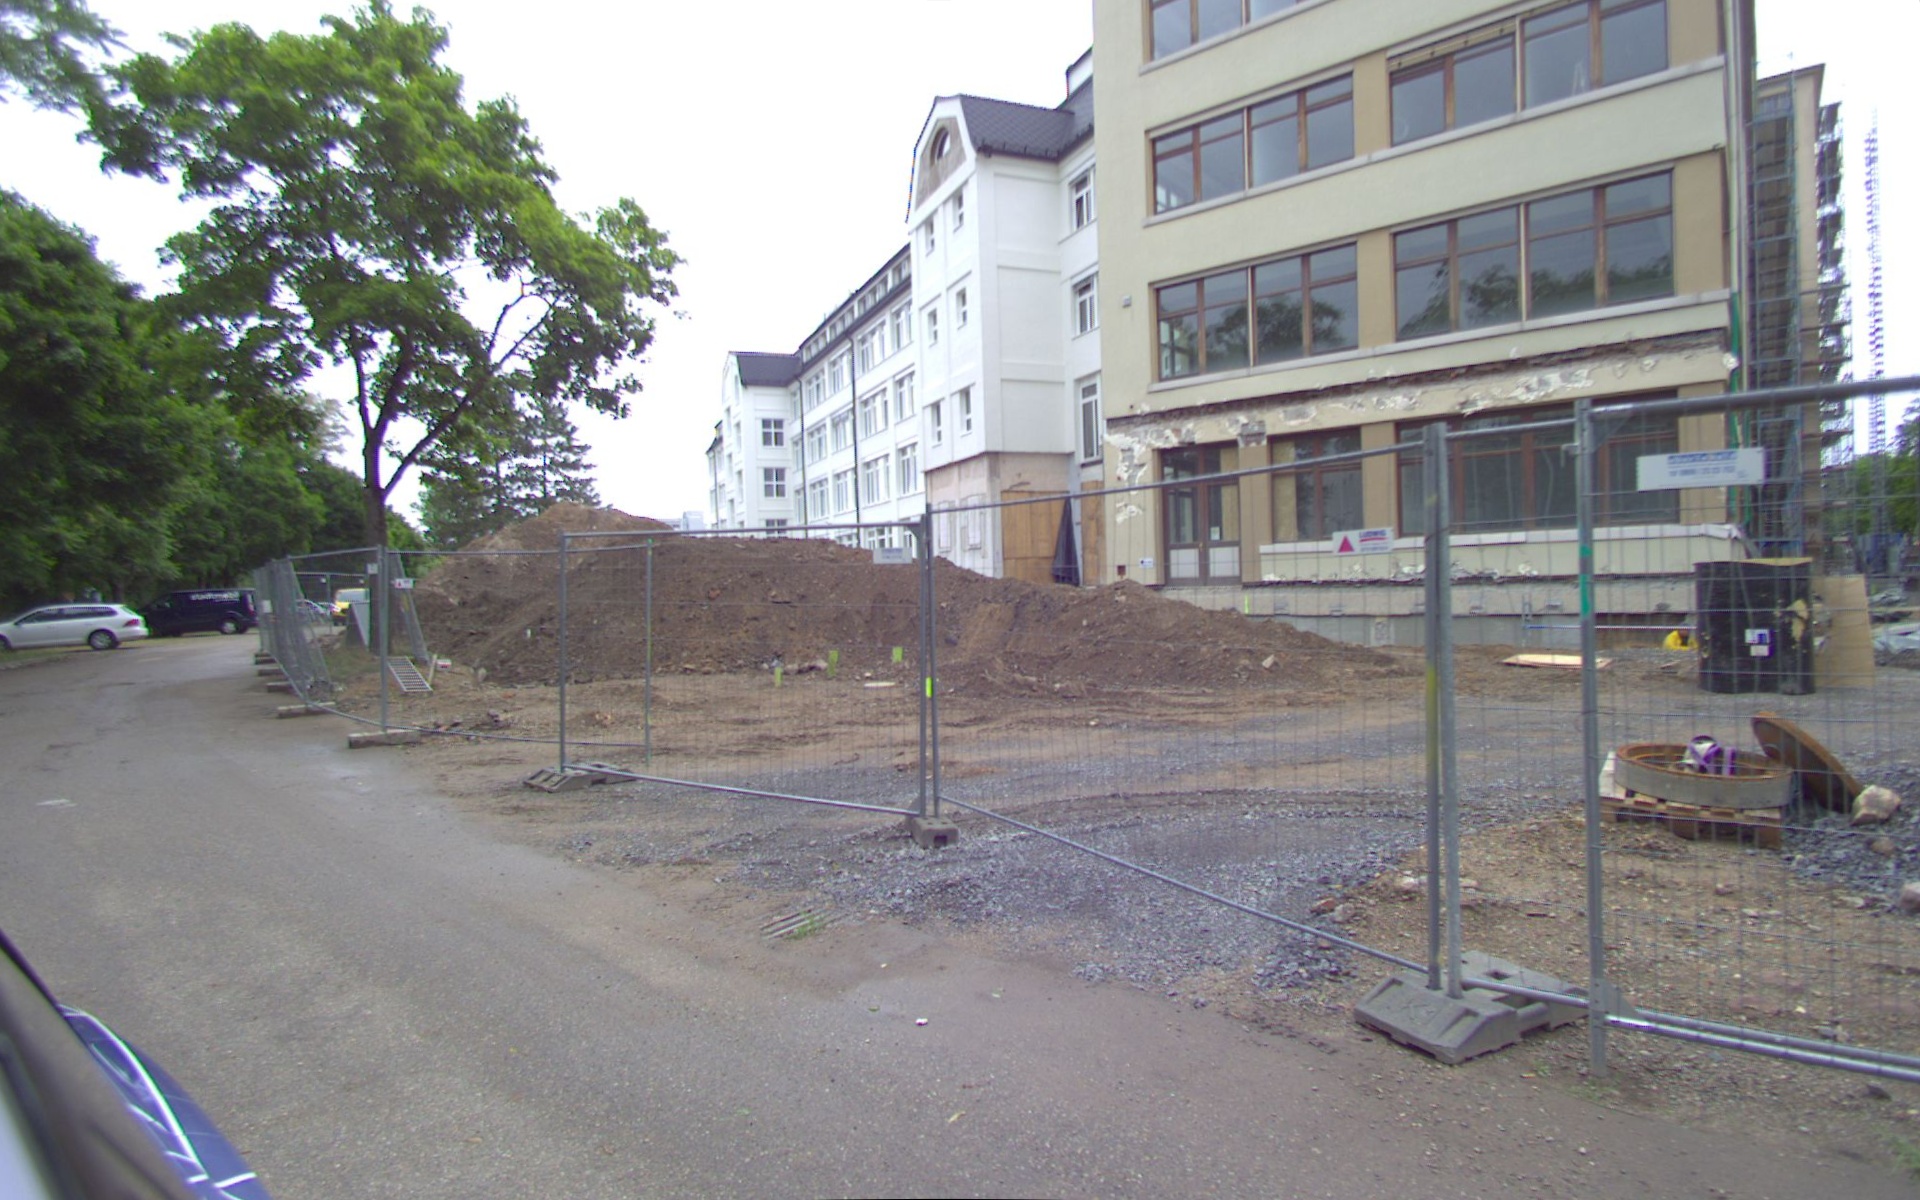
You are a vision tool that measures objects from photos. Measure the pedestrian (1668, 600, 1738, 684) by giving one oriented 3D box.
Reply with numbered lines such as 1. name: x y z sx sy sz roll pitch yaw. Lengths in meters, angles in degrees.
1. pedestrian: 13.457 0.739 18.349 0.981 1.448 0.920 -1 1 35

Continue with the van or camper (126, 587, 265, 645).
1. van or camper: -33.111 0.660 43.993 4.423 2.275 2.007 -2 1 -23

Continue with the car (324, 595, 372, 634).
1. car: -33.571 0.780 55.630 2.089 2.029 4.012 -2 1 -30

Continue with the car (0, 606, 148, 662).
1. car: -28.354 1.053 32.170 3.822 1.586 1.756 -2 1 -35

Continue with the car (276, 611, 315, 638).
1. car: -44.803 1.626 68.261 1.966 1.608 4.012 -2 1 -31
